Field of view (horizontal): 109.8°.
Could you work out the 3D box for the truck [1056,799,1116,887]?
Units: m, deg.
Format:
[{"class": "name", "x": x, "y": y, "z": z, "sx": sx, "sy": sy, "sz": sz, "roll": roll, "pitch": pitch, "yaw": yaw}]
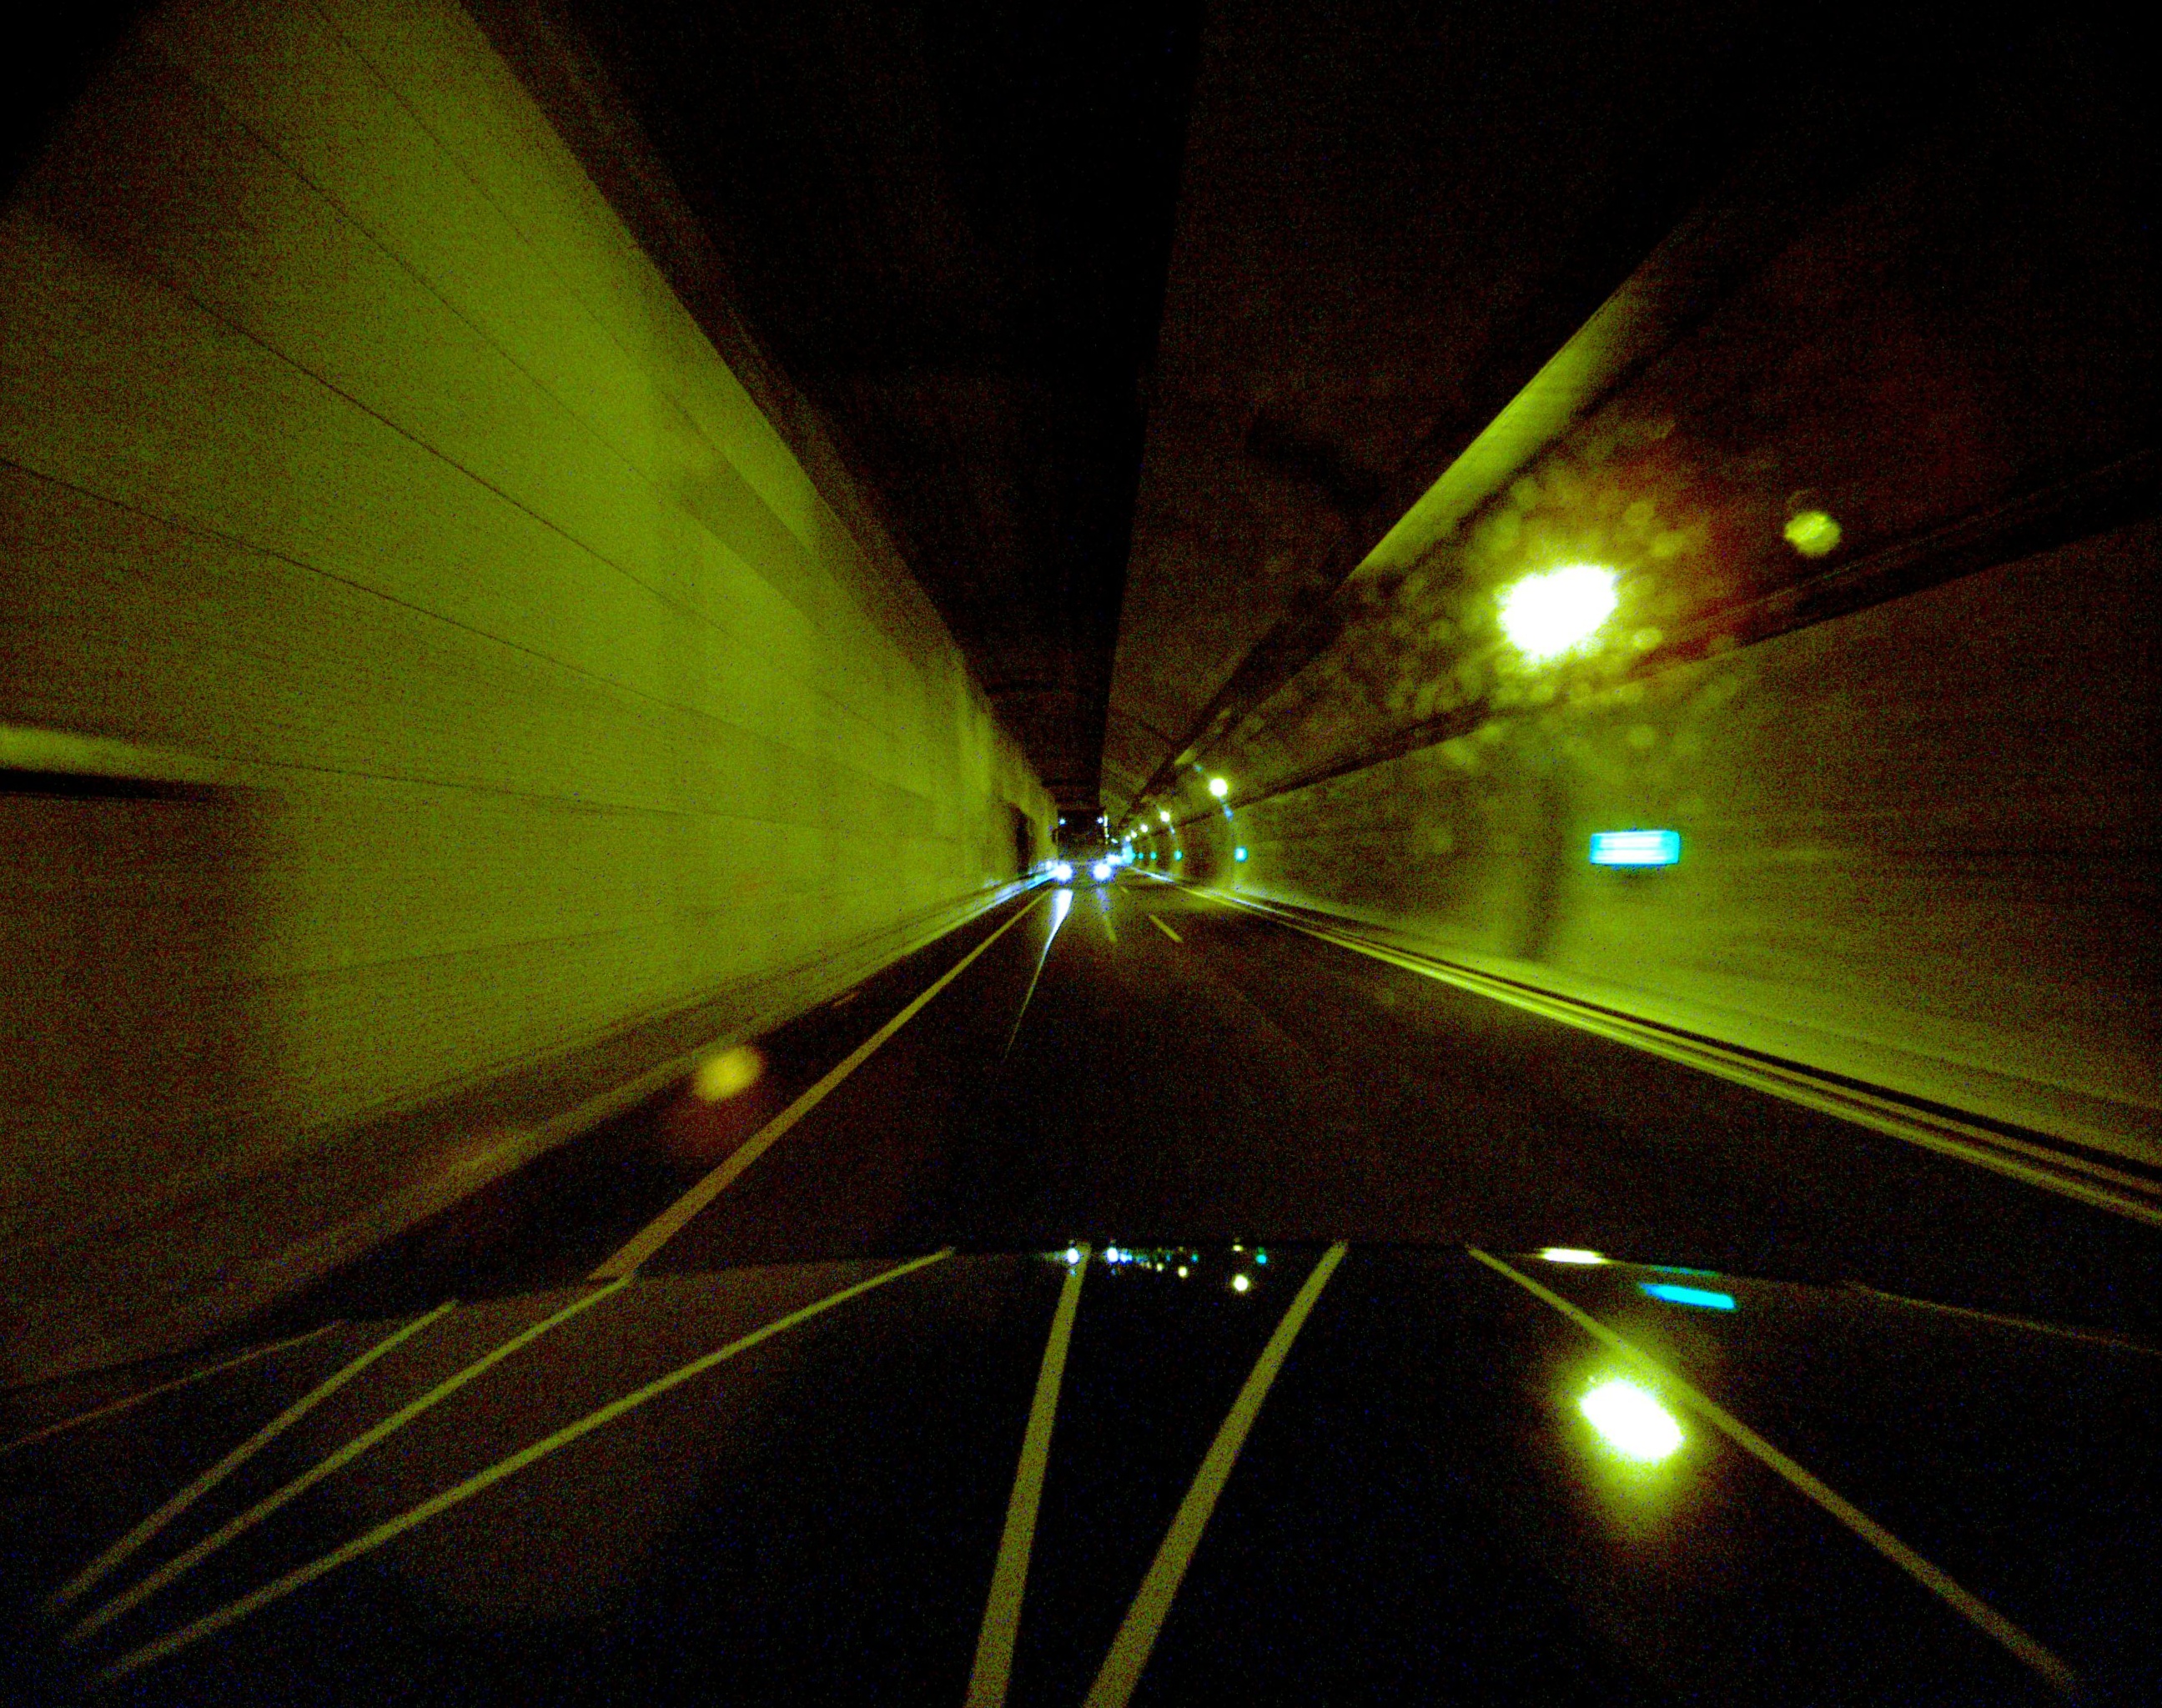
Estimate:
[{"class": "truck", "x": 0.288, "y": -0.553, "z": 40.955, "sx": 2.769, "sy": 4.198, "sz": 7.976, "roll": -2, "pitch": 1, "yaw": 0}]
